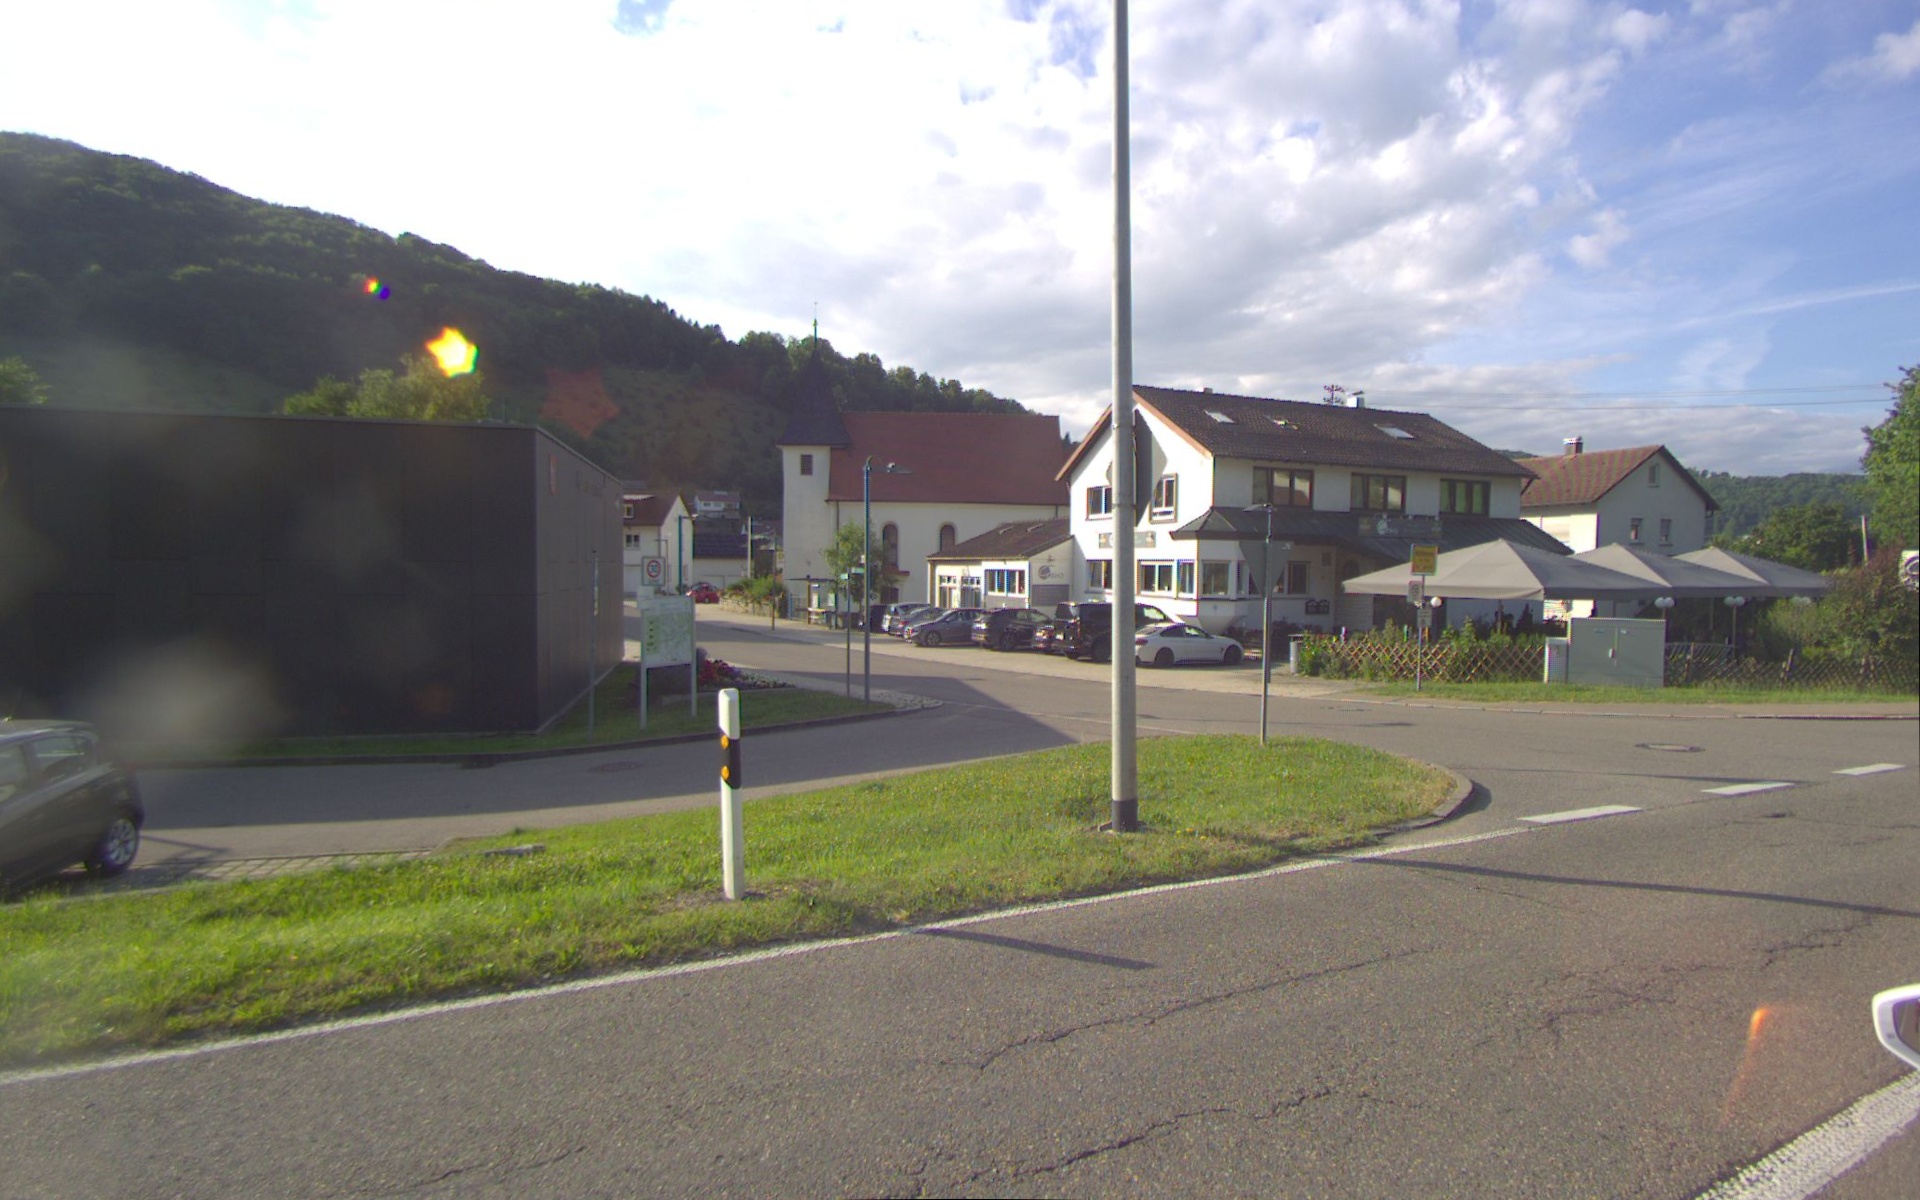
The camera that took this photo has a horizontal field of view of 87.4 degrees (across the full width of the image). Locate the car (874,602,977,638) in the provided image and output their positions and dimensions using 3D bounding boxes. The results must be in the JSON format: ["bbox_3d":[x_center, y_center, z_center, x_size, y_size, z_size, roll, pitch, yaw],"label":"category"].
[{"bbox_3d":[-1.649,0.980,48.077,4.518,1.665,1.986,1,-1,-27],"label":"car"}]

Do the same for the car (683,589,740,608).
[{"bbox_3d":[-19.921,-0.128,80.623,1.972,1.528,3.977,1,0,43],"label":"car"}]

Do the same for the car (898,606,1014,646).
[{"bbox_3d":[-0.168,1.100,42.316,4.518,1.618,1.986,1,-1,-27],"label":"car"}]

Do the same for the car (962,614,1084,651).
[{"bbox_3d":[2.548,1.281,40.172,4.518,1.431,1.986,1,-1,-27],"label":"car"}]

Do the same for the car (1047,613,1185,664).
[{"bbox_3d":[5.470,1.324,35.125,4.518,1.707,1.986,1,-1,-27],"label":"car"}]

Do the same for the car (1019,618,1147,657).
[{"bbox_3d":[4.698,1.418,38.260,4.518,1.408,1.986,1,-1,-27],"label":"car"}]

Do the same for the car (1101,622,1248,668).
[{"bbox_3d":[7.044,1.445,32.937,4.518,1.408,1.986,1,-1,-27],"label":"car"}]

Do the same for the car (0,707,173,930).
[{"bbox_3d":[-8.494,1.817,8.063,1.801,1.555,3.992,1,-1,-12],"label":"car"}]

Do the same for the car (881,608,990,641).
[{"bbox_3d":[-1.106,1.095,45.479,4.518,1.431,1.986,1,-1,-27],"label":"car"}]
